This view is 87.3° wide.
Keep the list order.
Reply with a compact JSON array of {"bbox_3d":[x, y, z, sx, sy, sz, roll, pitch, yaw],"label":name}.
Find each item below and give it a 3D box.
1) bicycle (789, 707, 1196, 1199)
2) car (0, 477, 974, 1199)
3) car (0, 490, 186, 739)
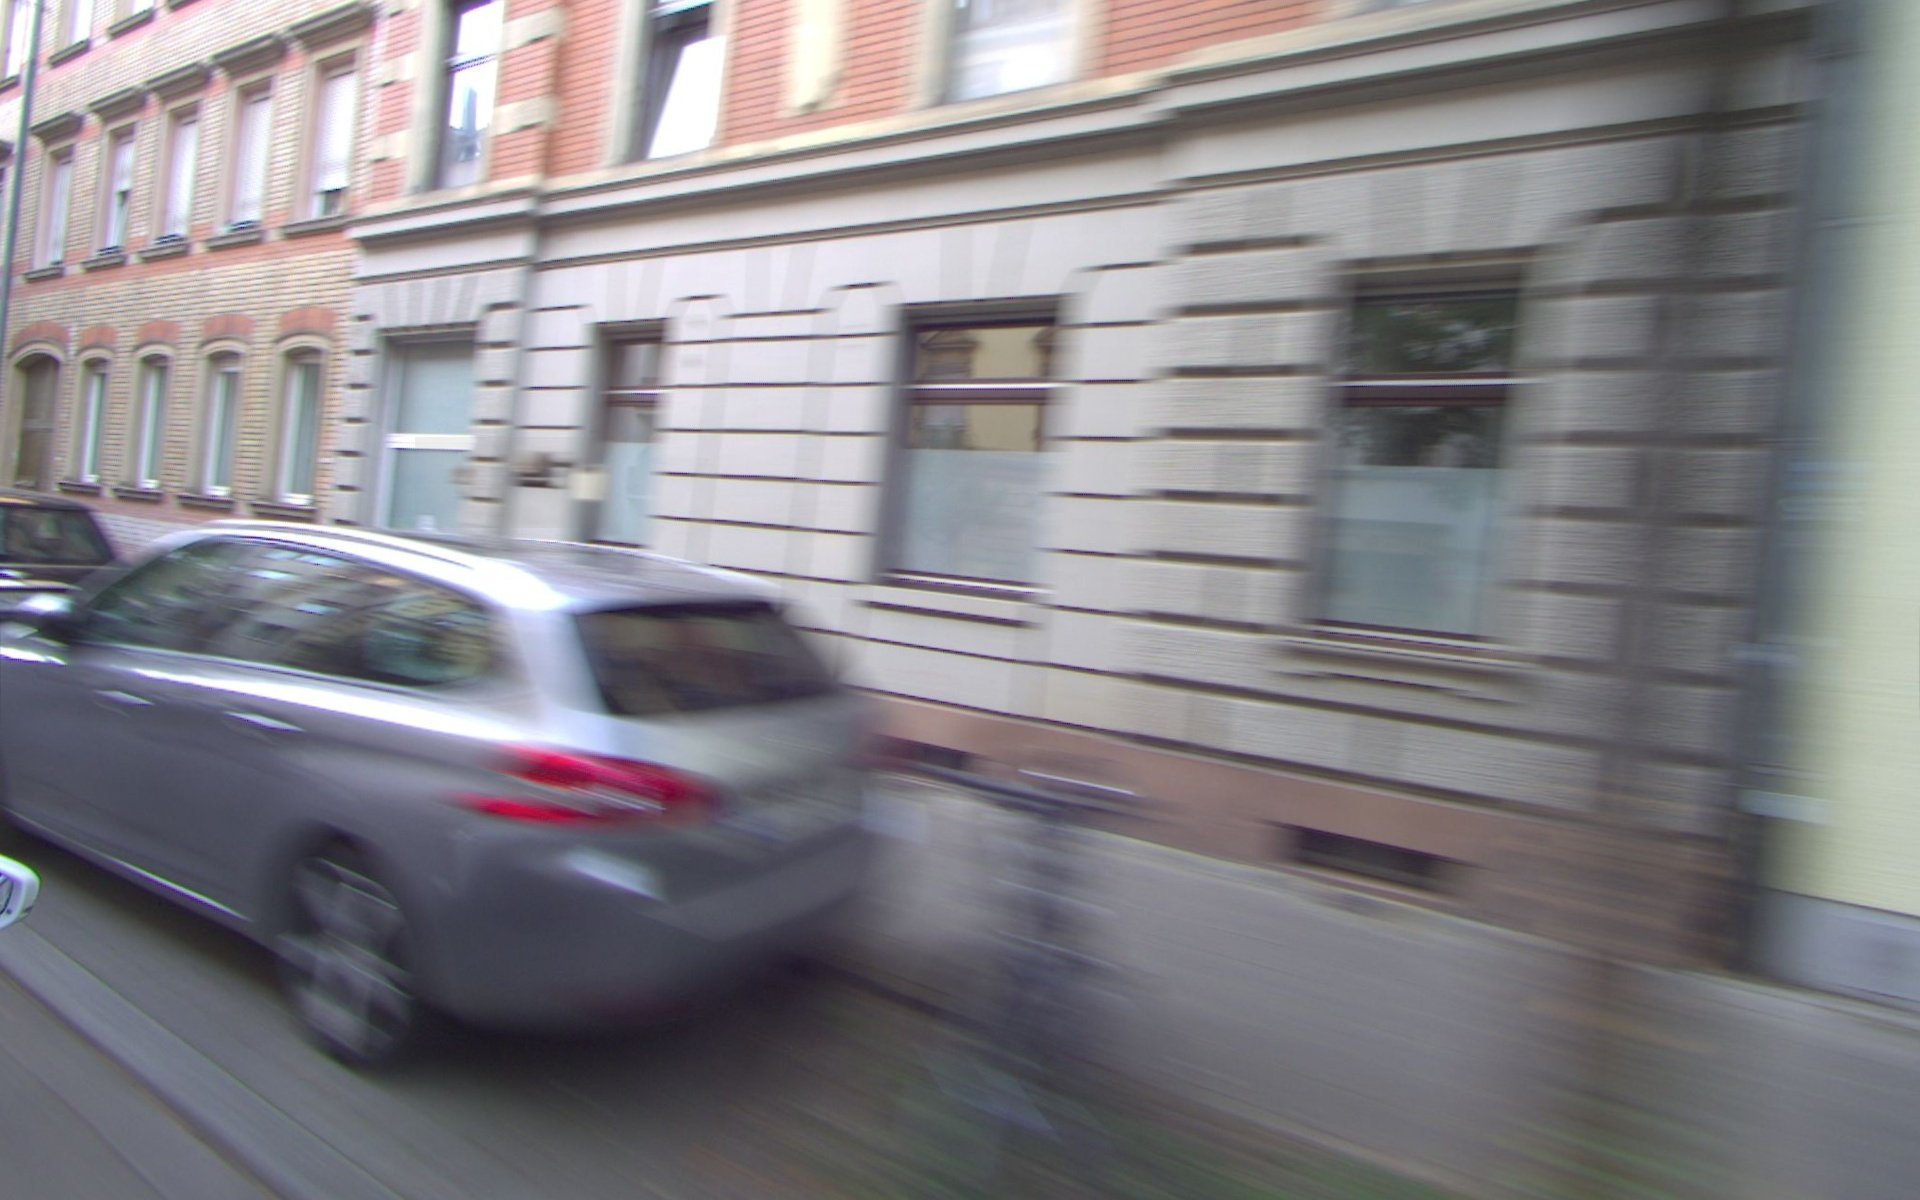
[{"bbox_3d":[0.187,0.892,2.686,0.626,0.994,1.923,7,0,9],"label":"bicycle"},{"bbox_3d":[-2.292,0.434,4.032,4.293,1.495,1.718,7,2,29],"label":"car"},{"bbox_3d":[-7.054,-0.075,6.770,3.504,1.442,1.637,7,1,30],"label":"car"}]
